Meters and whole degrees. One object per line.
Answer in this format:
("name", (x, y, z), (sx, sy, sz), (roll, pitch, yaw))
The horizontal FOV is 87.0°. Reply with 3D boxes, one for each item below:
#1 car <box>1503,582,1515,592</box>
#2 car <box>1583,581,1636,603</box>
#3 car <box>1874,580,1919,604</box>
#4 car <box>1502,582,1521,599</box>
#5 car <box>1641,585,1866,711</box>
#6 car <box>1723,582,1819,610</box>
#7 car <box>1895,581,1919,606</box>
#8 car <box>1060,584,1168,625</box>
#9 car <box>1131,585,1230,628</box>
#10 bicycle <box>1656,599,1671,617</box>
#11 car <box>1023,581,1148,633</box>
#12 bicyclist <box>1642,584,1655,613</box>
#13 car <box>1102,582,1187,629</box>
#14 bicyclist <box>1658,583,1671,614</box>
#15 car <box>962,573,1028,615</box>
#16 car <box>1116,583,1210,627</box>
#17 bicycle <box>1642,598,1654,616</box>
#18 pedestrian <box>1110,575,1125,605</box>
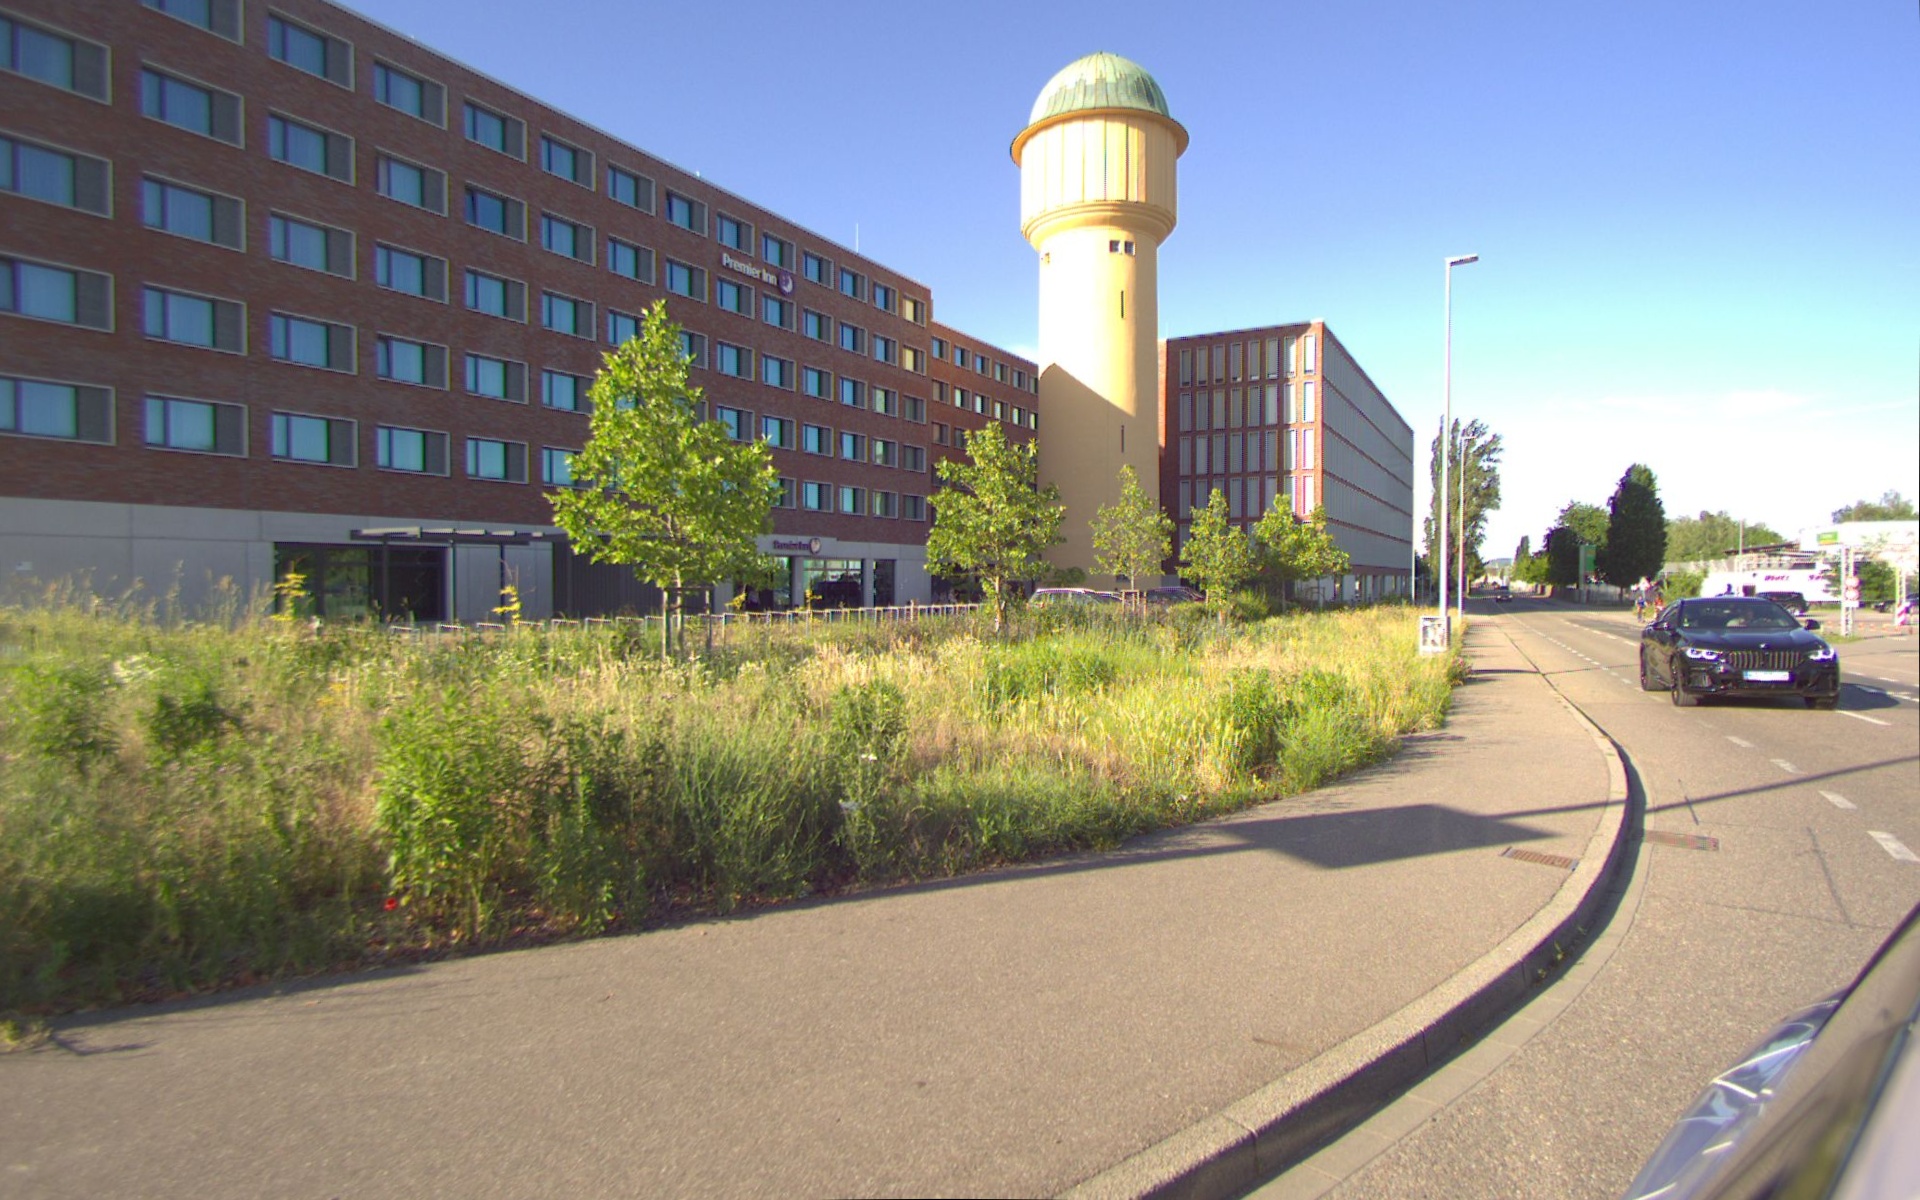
("car", (108.206, -2.507, 199.422), (1.981, 2.039, 3.961), (0, 0, 28))
("car", (85.253, -1.050, 132.995), (5.721, 2.736, 1.980), (0, 0, 29))
("car", (66.933, -0.572, 70.702), (4.233, 1.629, 1.740), (-1, 0, 8))
("car", (67.381, -1.108, 123.765), (1.981, 2.039, 3.961), (0, 0, 28))
("car", (12.721, 0.652, 16.596), (2.029, 1.736, 4.705), (-1, 0, 28))
("car", (53.577, -0.267, 66.953), (4.611, 1.763, 1.785), (-1, 0, 27))
("car", (66.165, -0.478, 68.230), (4.249, 1.645, 1.782), (-1, 0, 9))
("car", (6.249, 0.158, 41.132), (3.970, 1.569, 1.813), (0, 0, 33))
("car", (10.992, 0.294, 50.534), (4.495, 2.039, 1.978), (0, 0, 31))
("bicycle", (43.613, 0.483, 62.717), (0.553, 1.078, 1.707), (-1, 0, 29))
("car", (4.747, 0.239, 38.392), (4.295, 1.851, 1.980), (0, 0, 30))
("bicyclist", (44.058, -0.103, 64.796), (0.563, 1.895, 0.845), (0, 0, 28))
("car", (8.393, 0.234, 46.056), (3.454, 2.047, 1.817), (0, 0, 30))
("bicyclist", (43.620, -0.078, 62.662), (0.563, 1.895, 0.845), (0, 0, 28))
("car", (2.075, -0.361, 58.909), (1.852, 2.292, 4.887), (0, 0, 29))
("car", (9.582, 0.214, 47.797), (3.970, 2.005, 1.977), (0, 0, 33))
("bicycle", (44.076, 0.442, 64.823), (0.499, 1.139, 1.550), (-1, 0, 29))
("pedestrian", (10.168, -0.661, 65.317), (0.880, 1.887, 0.970), (-1, 0, 7))
